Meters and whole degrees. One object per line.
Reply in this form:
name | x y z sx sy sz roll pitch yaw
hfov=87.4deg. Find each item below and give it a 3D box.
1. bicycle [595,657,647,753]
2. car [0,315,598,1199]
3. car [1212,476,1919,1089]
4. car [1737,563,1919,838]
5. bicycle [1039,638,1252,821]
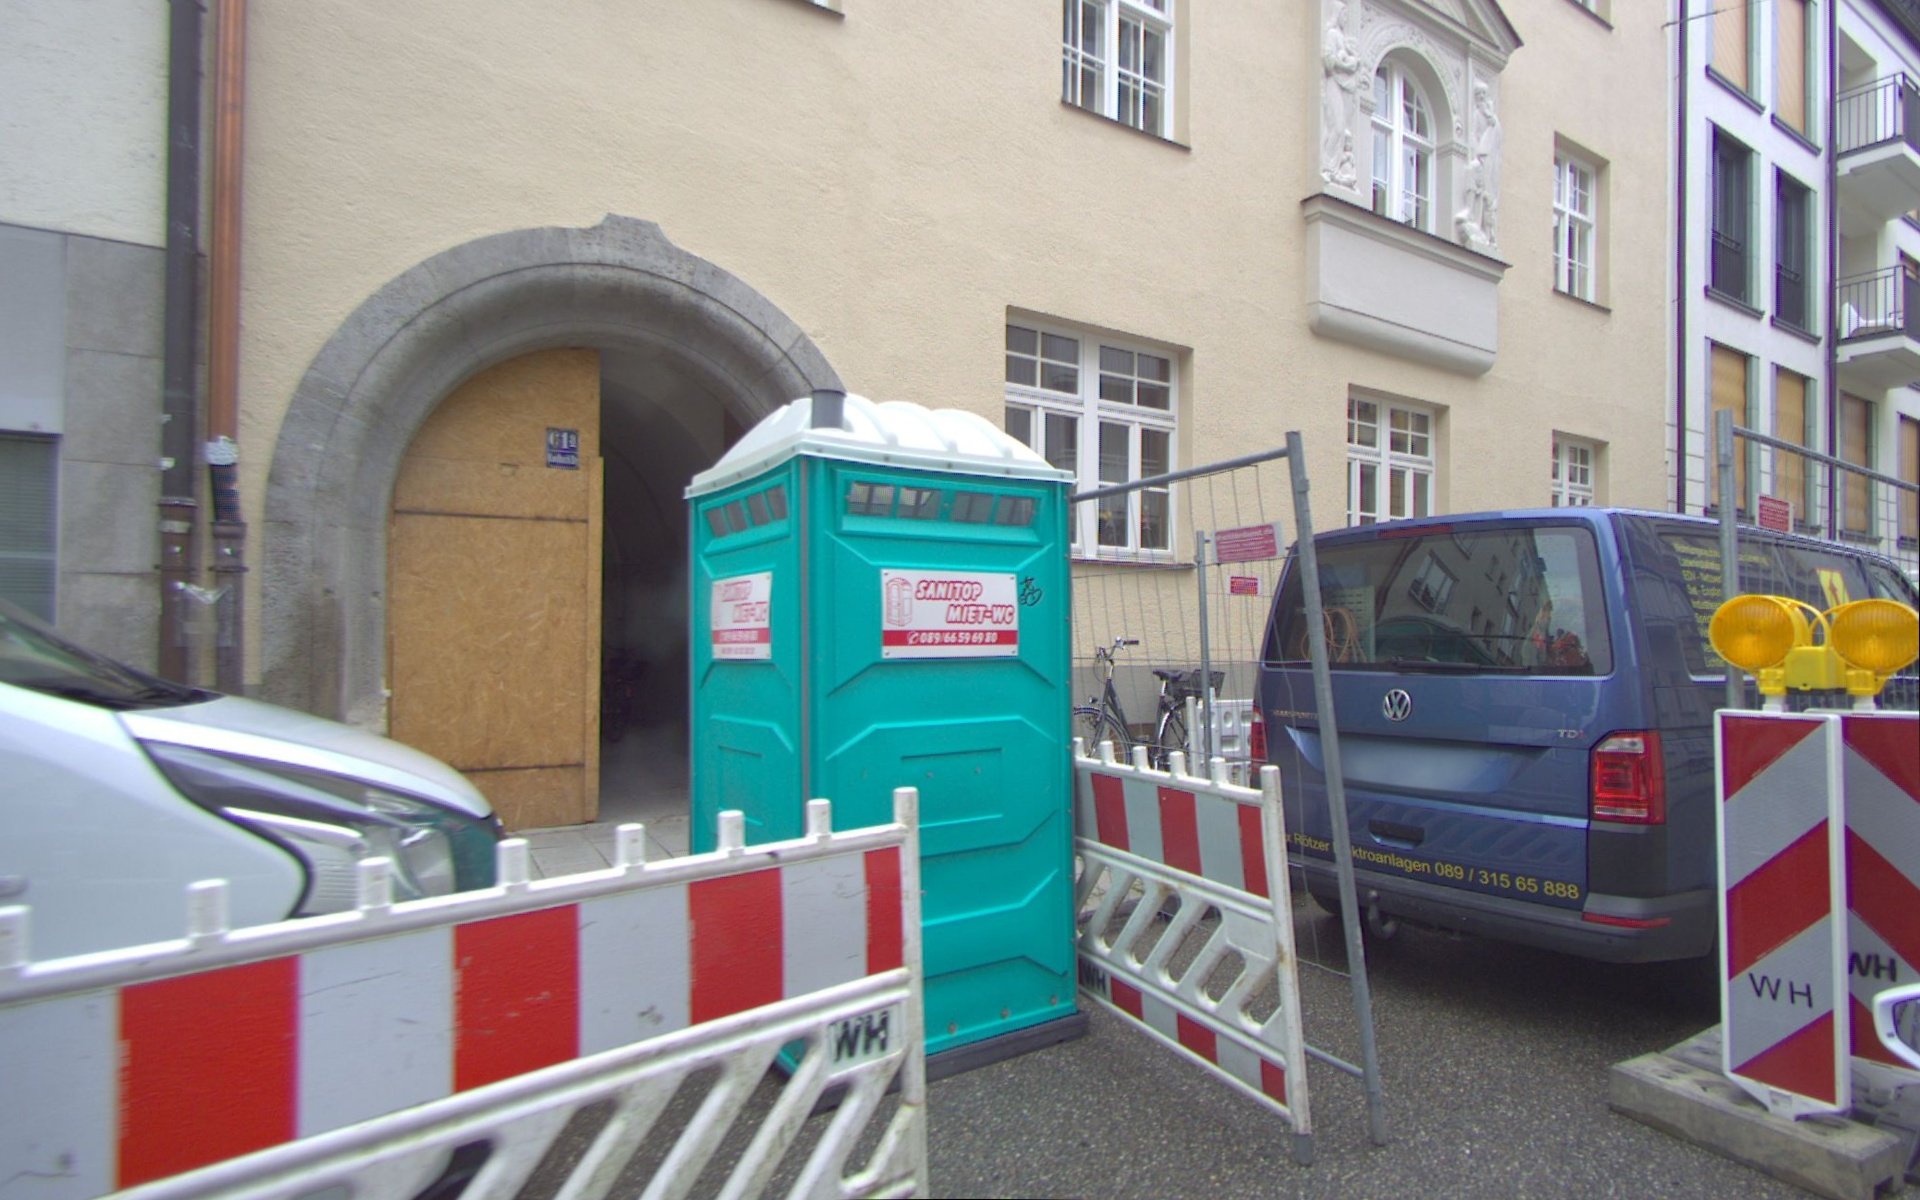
bicycle | -3.740 1.122 11.037 0.220 0.926 1.394 2 -1 -31
car | -3.188 0.543 1.391 4.742 1.922 1.905 2 -4 -35
car | 3.906 0.673 5.407 5.450 1.922 1.717 2 -4 -34
car | 8.683 0.772 8.637 5.041 1.922 1.891 2 -2 -37
bicycle | 1.495 0.927 7.768 2.119 1.204 0.378 0 0 -41
